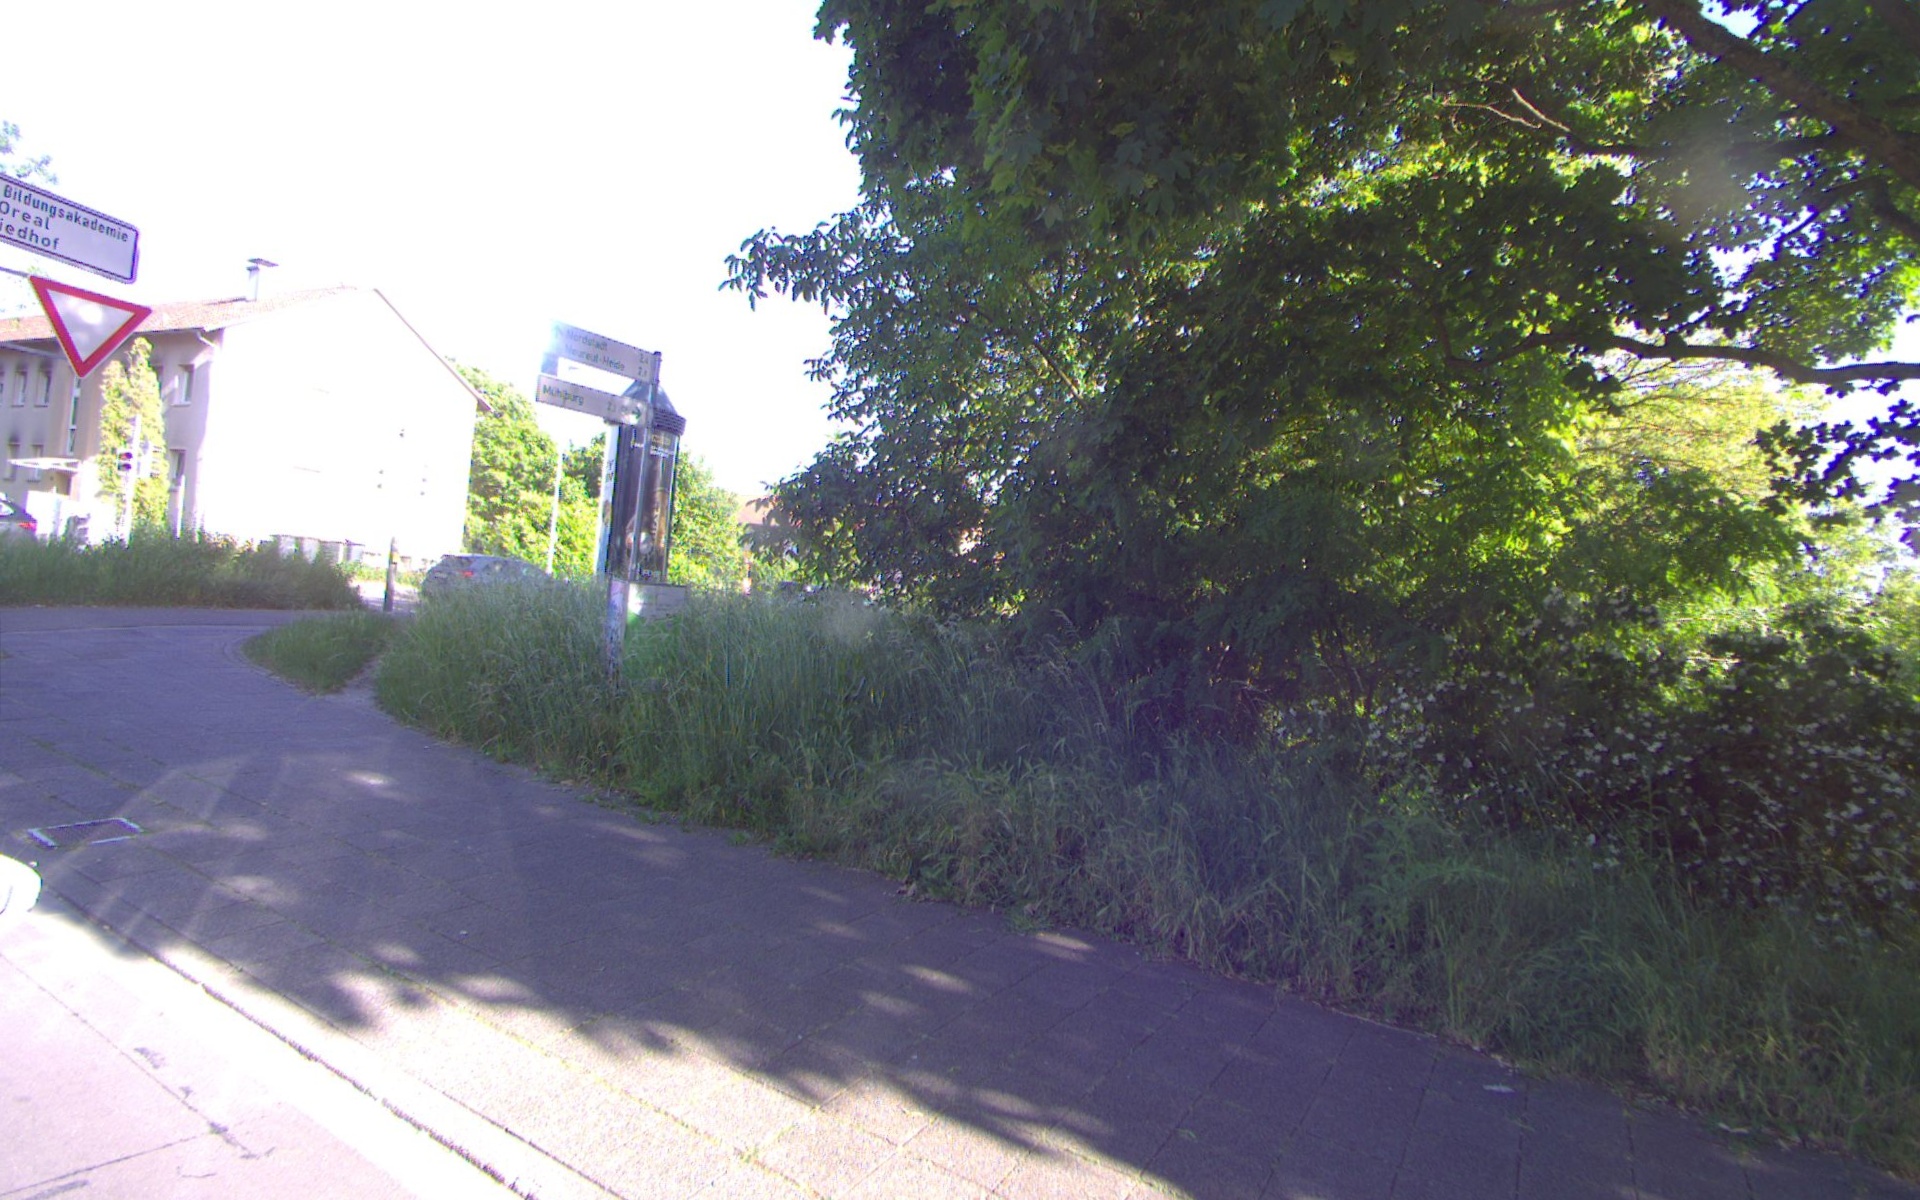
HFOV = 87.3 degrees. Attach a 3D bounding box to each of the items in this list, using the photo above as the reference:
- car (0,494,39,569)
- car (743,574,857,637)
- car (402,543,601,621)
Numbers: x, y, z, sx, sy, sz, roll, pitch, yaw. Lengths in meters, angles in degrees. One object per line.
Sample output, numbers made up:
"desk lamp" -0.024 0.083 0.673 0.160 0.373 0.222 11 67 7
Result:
"car" -21.246 -1.658 19.466 1.970 1.447 4.727 7 -1 37
"car" -5.961 0.257 38.012 1.827 1.910 4.354 7 0 27
"car" -11.657 -0.403 25.896 1.881 1.507 4.290 7 0 29
